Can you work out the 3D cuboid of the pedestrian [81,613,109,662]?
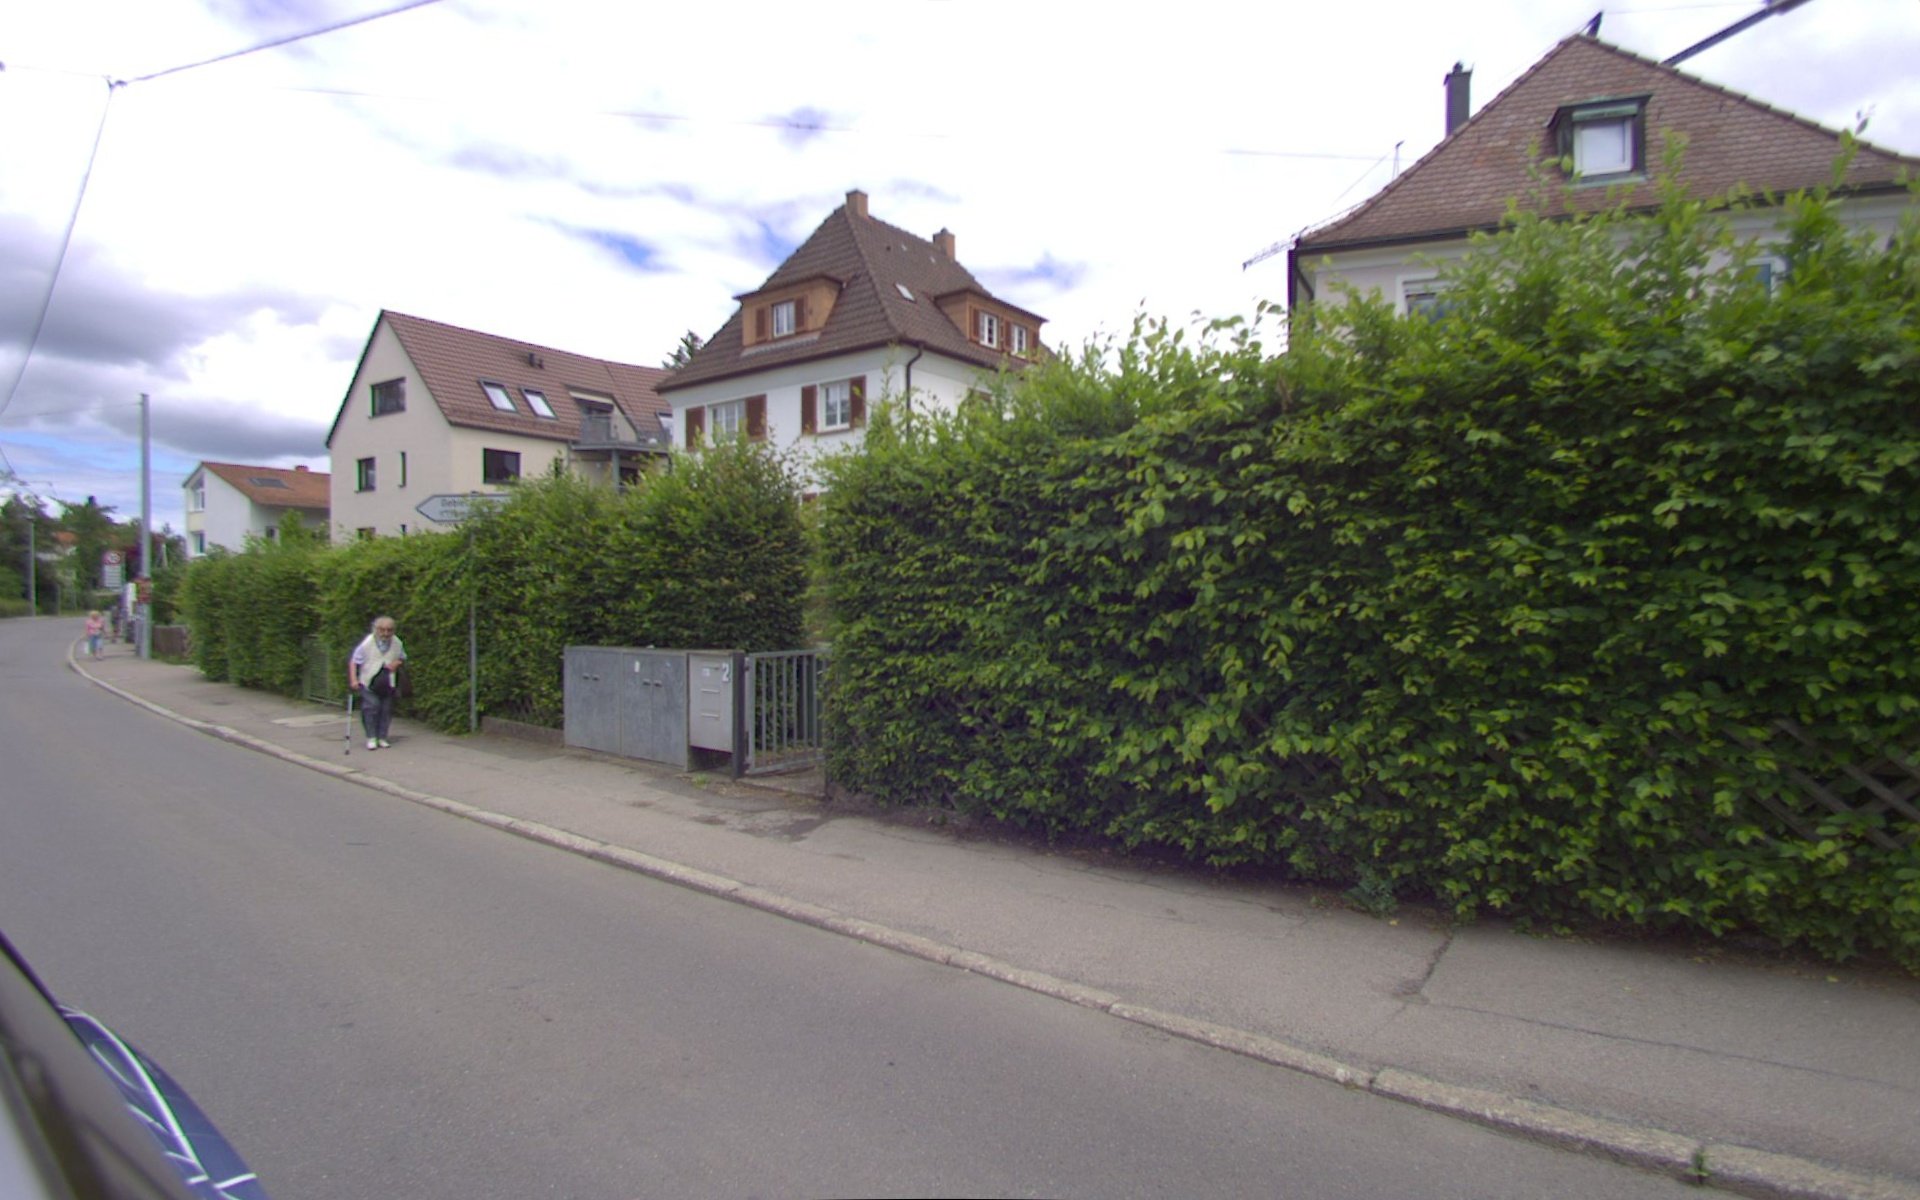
[{"bbox_3d":[-28.902,1.251,33.815,0.608,1.611,0.611,-1,-1,41],"label":"pedestrian"}]

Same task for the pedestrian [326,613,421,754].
[{"bbox_3d":[-6.805,0.944,11.757,0.542,1.542,0.742,-1,1,29],"label":"pedestrian"}]

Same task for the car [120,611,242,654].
[{"bbox_3d":[-33.500,1.360,43.574,1.886,1.741,3.942,-1,0,44],"label":"car"}]

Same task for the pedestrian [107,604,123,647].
[{"bbox_3d":[-38.911,1.162,46.610,0.528,1.966,0.528,0,-1,-38],"label":"pedestrian"}]
